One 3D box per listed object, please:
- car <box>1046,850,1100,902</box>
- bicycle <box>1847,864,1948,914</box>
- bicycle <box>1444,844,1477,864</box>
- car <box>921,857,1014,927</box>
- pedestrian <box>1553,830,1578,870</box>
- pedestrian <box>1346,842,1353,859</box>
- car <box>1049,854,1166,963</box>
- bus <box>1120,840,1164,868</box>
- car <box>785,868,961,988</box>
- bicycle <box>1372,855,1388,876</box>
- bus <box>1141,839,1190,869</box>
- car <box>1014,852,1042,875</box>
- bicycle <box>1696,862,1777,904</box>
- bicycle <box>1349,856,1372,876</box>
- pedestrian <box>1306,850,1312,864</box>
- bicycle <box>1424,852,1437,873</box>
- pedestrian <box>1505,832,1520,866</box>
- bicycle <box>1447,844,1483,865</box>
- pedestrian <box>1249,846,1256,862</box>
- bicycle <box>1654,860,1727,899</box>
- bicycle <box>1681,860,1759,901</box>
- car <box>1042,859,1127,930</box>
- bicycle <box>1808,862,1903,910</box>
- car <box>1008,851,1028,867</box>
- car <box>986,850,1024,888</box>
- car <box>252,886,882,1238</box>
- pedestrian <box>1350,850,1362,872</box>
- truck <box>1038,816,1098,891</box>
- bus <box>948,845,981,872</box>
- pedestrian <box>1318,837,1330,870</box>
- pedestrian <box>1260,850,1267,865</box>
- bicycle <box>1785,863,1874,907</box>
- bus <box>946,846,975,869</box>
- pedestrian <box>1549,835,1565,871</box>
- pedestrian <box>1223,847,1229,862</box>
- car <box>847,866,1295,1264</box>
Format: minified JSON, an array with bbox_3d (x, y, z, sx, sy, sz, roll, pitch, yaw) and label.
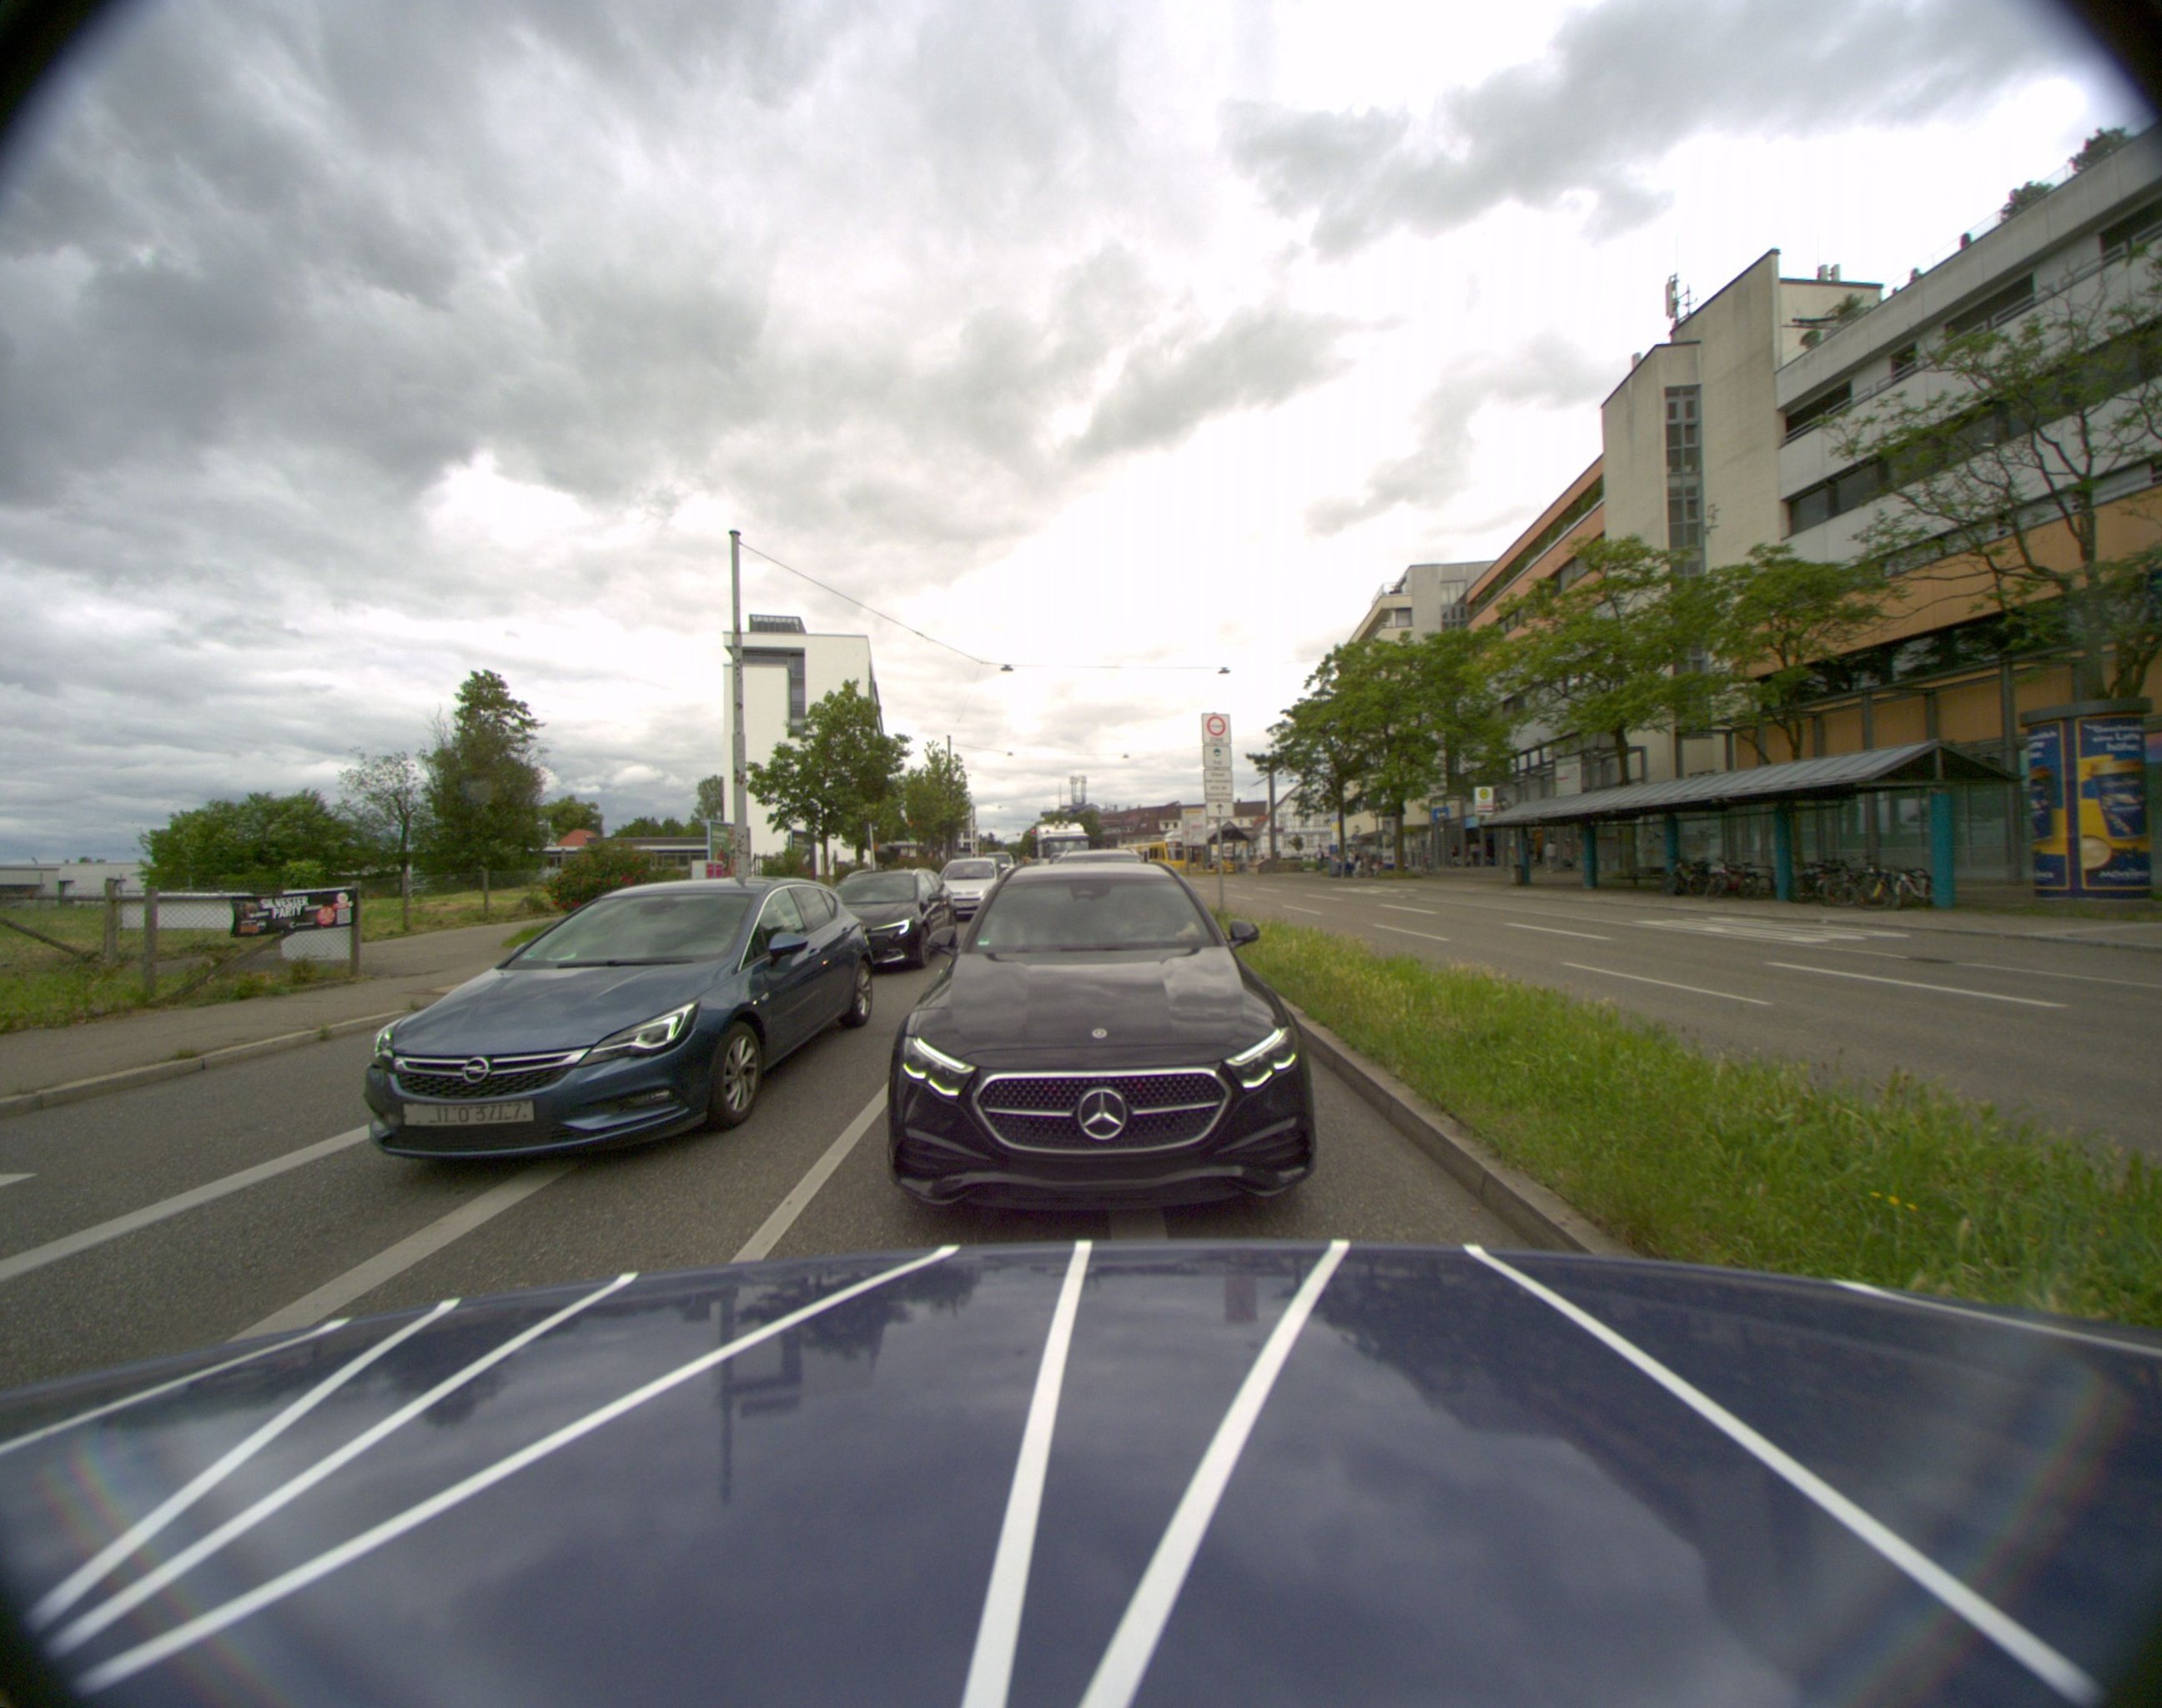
[{"bbox_3d":[-0.363,0.764,28.355,1.865,1.773,3.999,-1,0,-2],"label":"car"},{"bbox_3d":[18.688,0.788,17.408,1.735,1.035,0.549,-2,1,-2],"label":"bicycle"},{"bbox_3d":[27.760,-0.020,55.562,2.138,1.358,0.620,-2,1,26],"label":"bicycle"},{"bbox_3d":[-2.955,0.942,20.565,1.851,1.606,3.783,-3,0,0],"label":"car"},{"bbox_3d":[25.229,-0.217,39.576,0.710,2.002,0.794,-2,1,0],"label":"pedestrian"},{"bbox_3d":[19.465,-0.245,55.002,0.341,1.172,0.369,-1,1,-9],"label":"pedestrian"},{"bbox_3d":[0.396,0.823,13.493,1.734,1.601,4.000,-2,0,0],"label":"car"},{"bbox_3d":[6.939,-0.013,87.962,2.556,2.966,9.790,-1,0,-11],"label":"bus"},{"bbox_3d":[-3.070,1.023,12.031,1.665,1.448,3.921,-2,0,0],"label":"car"},{"bbox_3d":[16.405,0.627,41.656,0.593,1.071,2.041,0,1,29],"label":"bicycle"},{"bbox_3d":[8.703,0.012,79.025,2.556,2.966,8.498,-1,0,-11],"label":"bus"},{"bbox_3d":[-4.375,0.750,62.386,2.000,1.674,3.997,-4,1,-8],"label":"car"},{"bbox_3d":[17.951,0.794,20.821,1.735,1.035,0.549,-3,1,-2],"label":"bicycle"},{"bbox_3d":[15.482,0.660,42.028,0.593,1.071,2.041,0,1,38],"label":"bicycle"},{"bbox_3d":[23.582,0.319,78.576,0.555,1.485,0.454,-1,1,8],"label":"pedestrian"},{"bbox_3d":[19.490,0.474,42.395,0.593,1.119,2.040,0,1,24],"label":"bicycle"},{"bbox_3d":[25.535,-0.308,44.953,0.566,2.002,0.611,-1,1,6],"label":"pedestrian"},{"bbox_3d":[26.997,0.037,53.411,2.139,1.367,0.620,-2,1,18],"label":"bicycle"},{"bbox_3d":[22.347,-0.032,99.023,0.879,2.002,1.010,-1,1,6],"label":"pedestrian"},{"bbox_3d":[18.208,0.752,22.713,1.735,1.035,0.549,-3,1,-2],"label":"bicycle"},{"bbox_3d":[18.287,0.747,21.753,1.735,1.035,0.549,-4,1,-2],"label":"bicycle"},{"bbox_3d":[0.048,0.914,18.919,1.865,1.520,3.999,-1,0,-1],"label":"car"},{"bbox_3d":[18.629,0.756,18.294,1.735,1.035,0.549,-3,1,-2],"label":"bicycle"},{"bbox_3d":[-7.329,0.582,87.509,2.000,1.674,3.997,-4,1,-8],"label":"car"},{"bbox_3d":[-4.083,0.767,41.594,1.852,1.875,4.135,-3,0,-4],"label":"car"},{"bbox_3d":[-2.910,1.052,5.537,1.826,1.402,4.000,-2,0,0],"label":"car"},{"bbox_3d":[23.906,0.606,65.979,0.765,1.835,0.752,-1,1,1],"label":"pedestrian"},{"bbox_3d":[-0.763,-0.038,36.735,2.490,3.258,7.428,-1,0,-4],"label":"truck"},{"bbox_3d":[-12.813,0.398,82.737,2.969,2.616,12.137,-2,1,-11],"label":"bus"},{"bbox_3d":[17.019,-0.047,53.221,0.590,2.294,0.608,-1,1,-2],"label":"pedestrian"},{"bbox_3d":[19.275,0.373,80.143,0.577,1.533,0.583,-1,1,-8],"label":"pedestrian"},{"bbox_3d":[19.029,0.778,19.319,1.735,1.035,0.549,-2,1,-2],"label":"bicycle"},{"bbox_3d":[-15.218,0.354,95.061,2.969,2.616,12.911,-2,1,-11],"label":"bus"},{"bbox_3d":[24.102,-0.042,38.499,0.648,1.799,0.761,0,1,34],"label":"pedestrian"},{"bbox_3d":[20.629,0.070,108.170,0.742,2.002,0.939,-1,1,11],"label":"pedestrian"},{"bbox_3d":[-0.049,0.886,5.200,1.793,1.507,4.249,-1,0,0],"label":"car"}]
